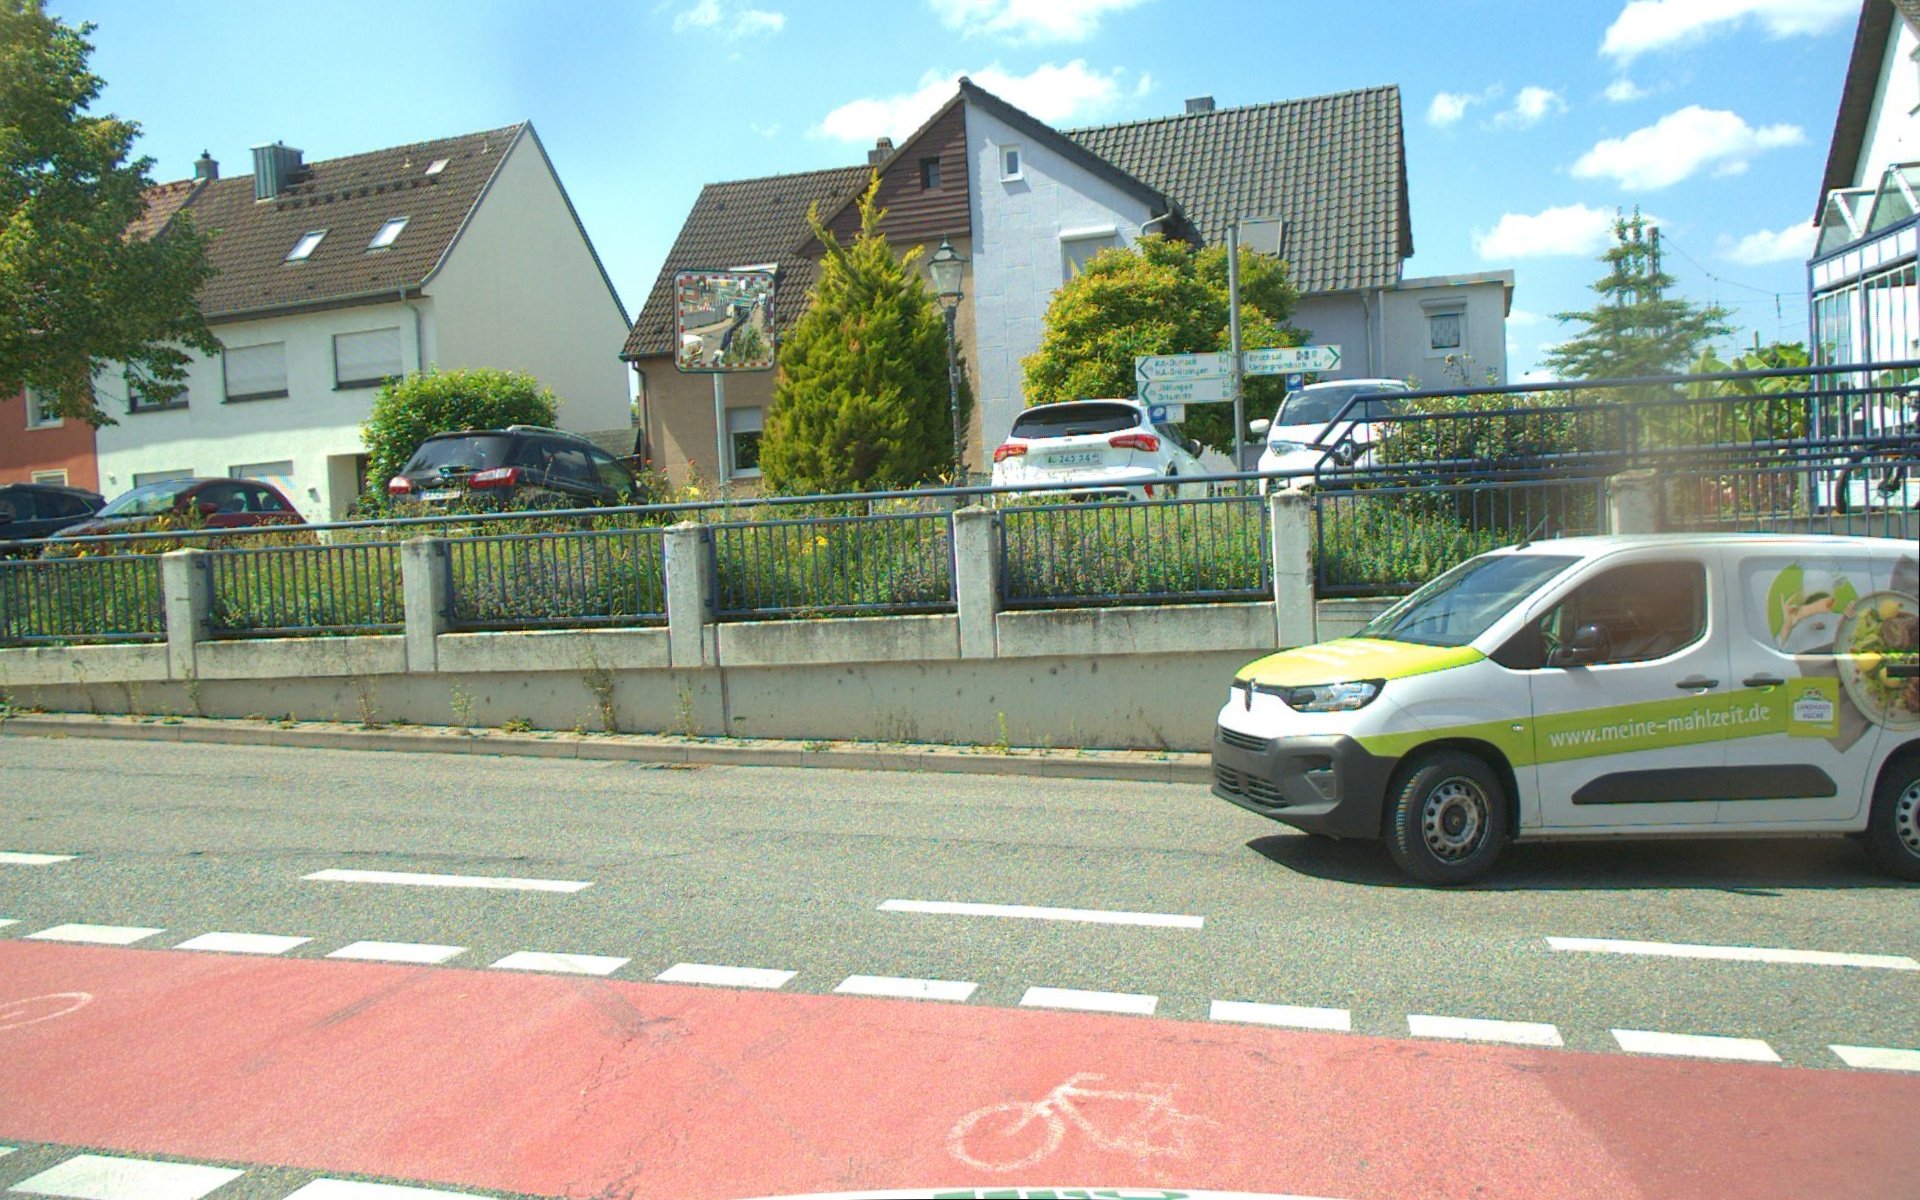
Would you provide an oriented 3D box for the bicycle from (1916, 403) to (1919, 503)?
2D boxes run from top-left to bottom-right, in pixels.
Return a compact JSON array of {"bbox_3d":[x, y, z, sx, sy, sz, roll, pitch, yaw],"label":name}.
[{"bbox_3d":[9.776,-1.474,16.336,0.446,1.012,1.887,-1,3,27],"label":"bicycle"}]

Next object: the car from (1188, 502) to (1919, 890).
[{"bbox_3d":[3.713,0.476,9.311,4.461,1.887,1.814,1,2,-10],"label":"car"}]

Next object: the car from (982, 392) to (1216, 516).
[{"bbox_3d":[1.542,-1.452,17.151,1.786,1.037,3.462,2,1,16],"label":"car"}]

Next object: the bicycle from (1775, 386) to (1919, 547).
[{"bbox_3d":[7.242,-1.015,12.328,2.069,1.145,0.333,-2,2,10],"label":"bicycle"}]

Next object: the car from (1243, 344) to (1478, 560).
[{"bbox_3d":[4.042,-1.339,16.458,1.951,1.828,4.200,1,1,16],"label":"car"}]

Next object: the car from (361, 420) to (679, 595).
[{"bbox_3d":[-5.027,-1.029,19.501,1.828,1.828,4.003,1,1,16],"label":"car"}]

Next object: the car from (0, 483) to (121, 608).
[{"bbox_3d":[-13.276,-0.737,21.982,1.828,1.614,3.612,1,1,16],"label":"car"}]

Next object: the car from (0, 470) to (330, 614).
[{"bbox_3d":[-9.796,-0.707,20.606,1.828,1.614,3.612,1,1,16],"label":"car"}]
